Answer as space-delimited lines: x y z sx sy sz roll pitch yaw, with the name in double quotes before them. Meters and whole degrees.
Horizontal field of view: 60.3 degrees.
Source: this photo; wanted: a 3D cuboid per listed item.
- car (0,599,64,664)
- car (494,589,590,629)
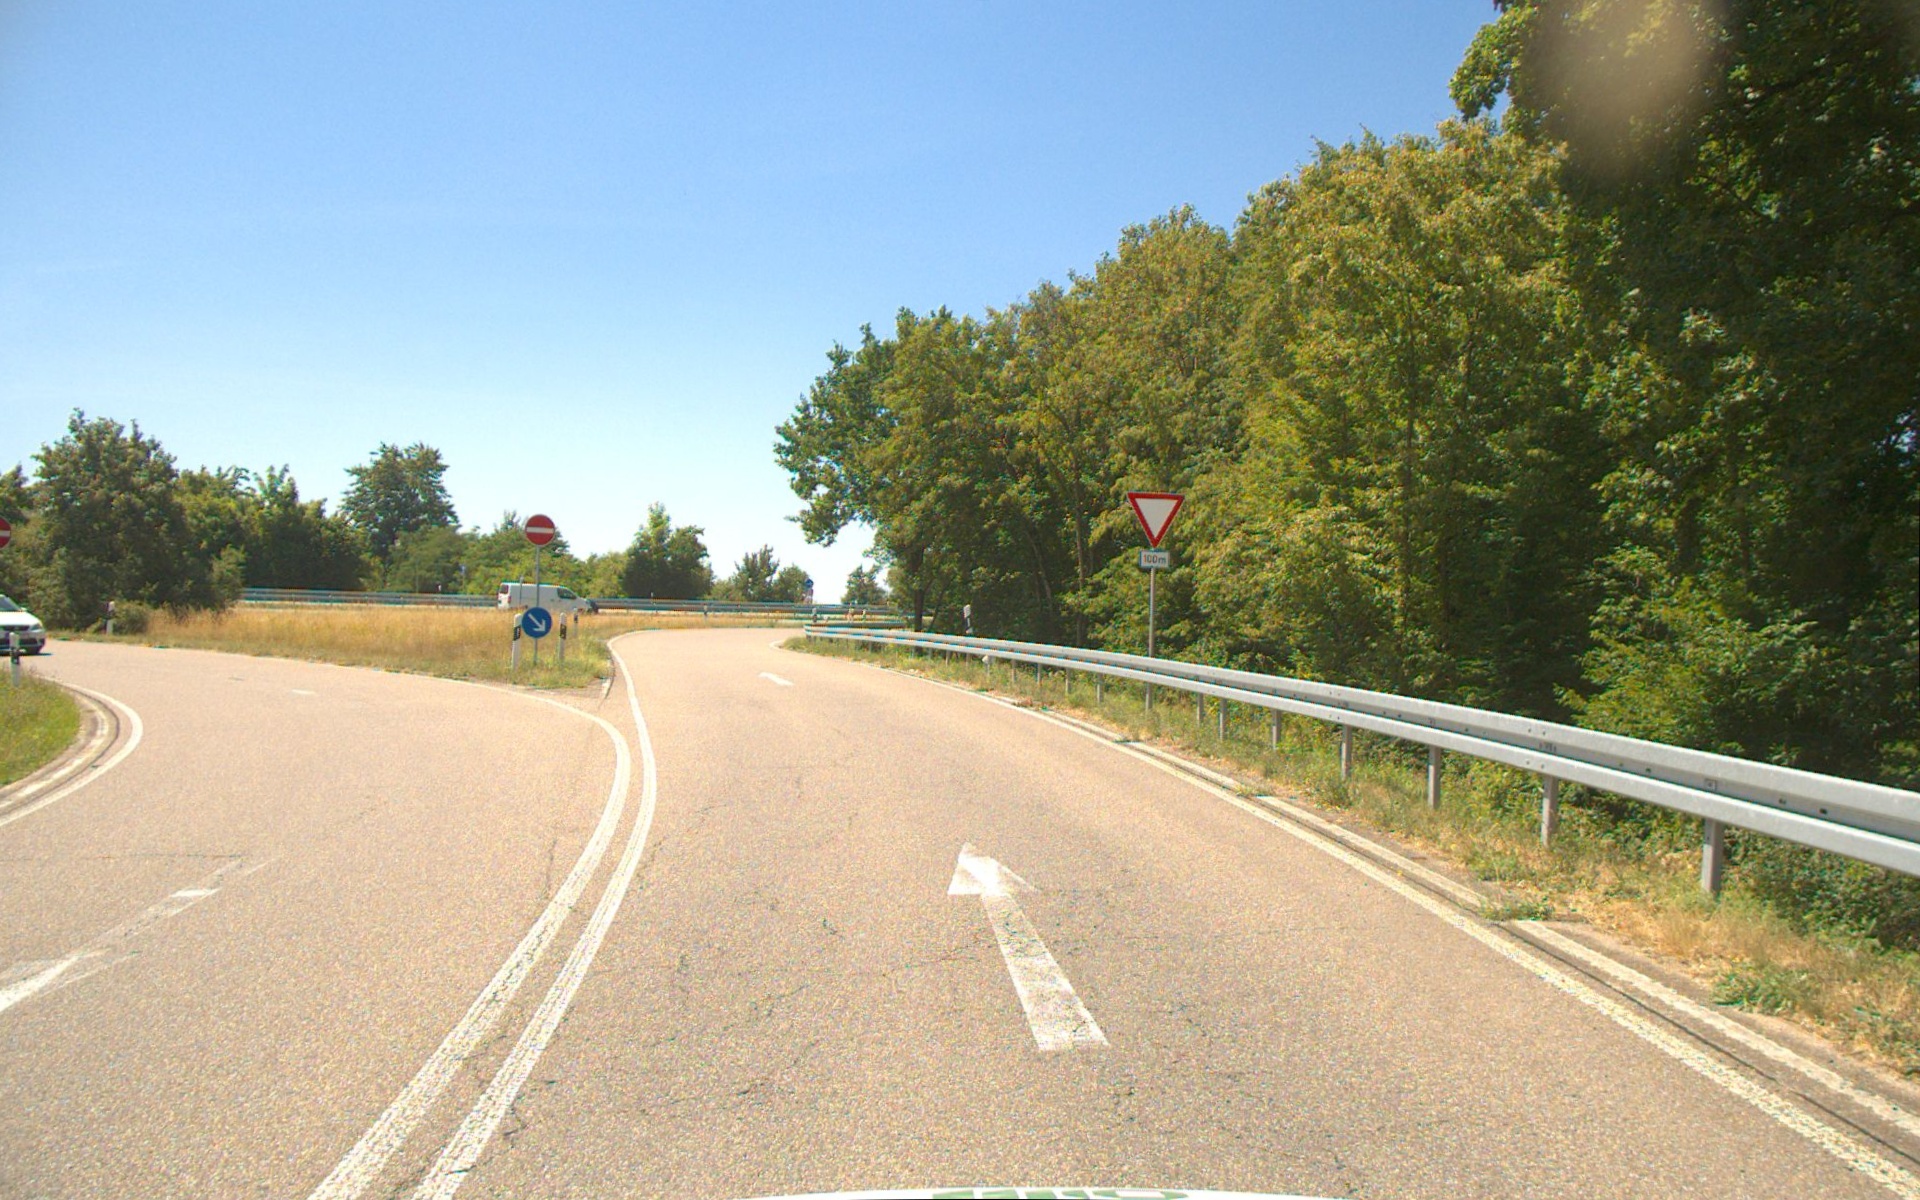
"car" -23.152 0.722 39.068 4.062 1.449 1.846 0 1 34
"car" -23.252 0.513 92.040 4.764 1.961 1.975 4 -3 -35
